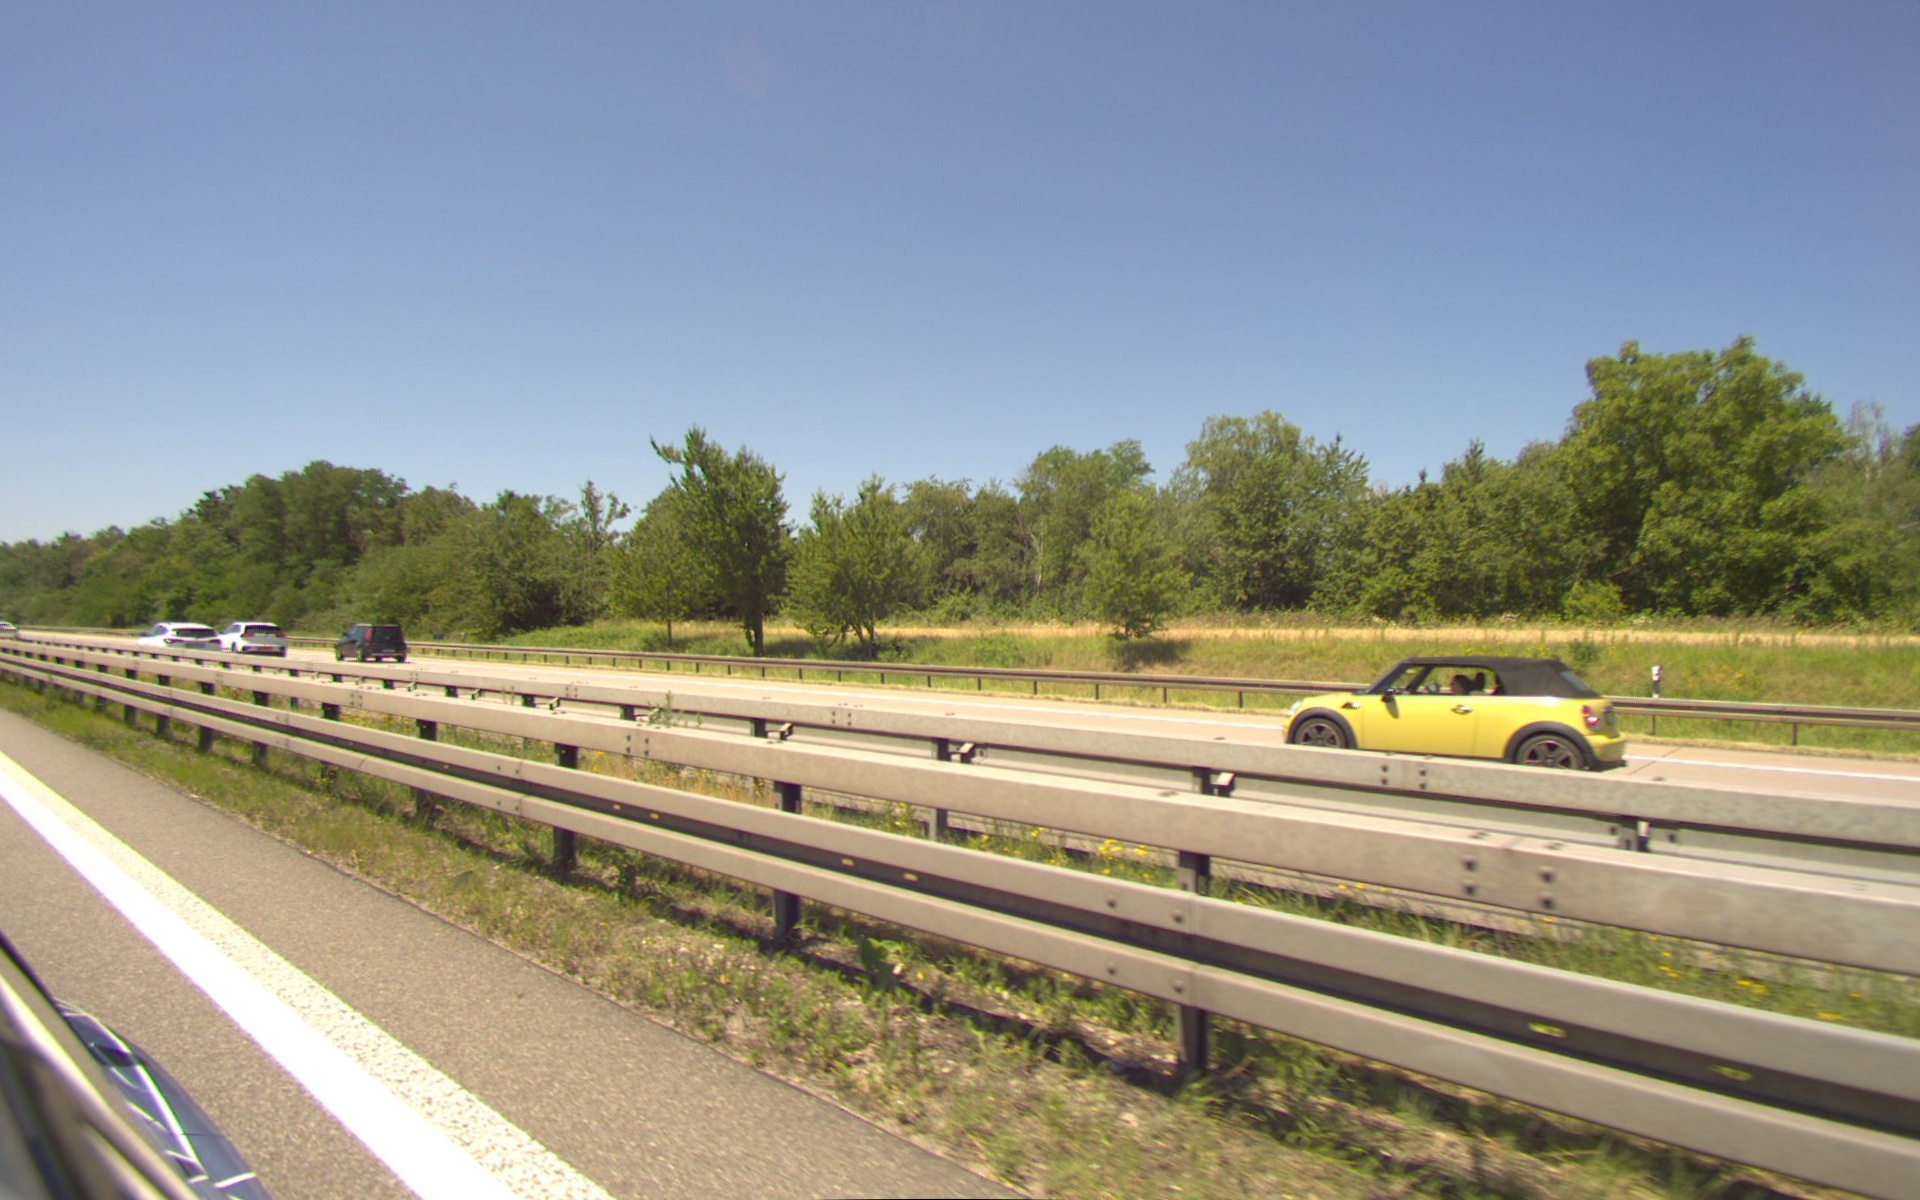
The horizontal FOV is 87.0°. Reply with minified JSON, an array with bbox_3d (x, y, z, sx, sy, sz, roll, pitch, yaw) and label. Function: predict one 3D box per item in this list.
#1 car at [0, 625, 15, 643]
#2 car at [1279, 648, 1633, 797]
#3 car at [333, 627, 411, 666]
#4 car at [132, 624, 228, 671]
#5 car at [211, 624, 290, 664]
[{"bbox_3d":[-71.300,2.479,74.840,4.082,1.324,1.671,-1,-4,41],"label":"car"},{"bbox_3d":[5.758,1.324,11.955,3.475,1.439,1.565,-1,-3,41],"label":"car"},{"bbox_3d":[-25.368,1.992,43.637,3.900,1.606,1.714,-1,-4,41],"label":"car"},{"bbox_3d":[-26.830,1.605,34.779,4.236,1.504,1.776,-1,-3,41],"label":"car"},{"bbox_3d":[-29.779,1.838,42.444,3.887,1.597,1.816,-1,-4,41],"label":"car"}]
